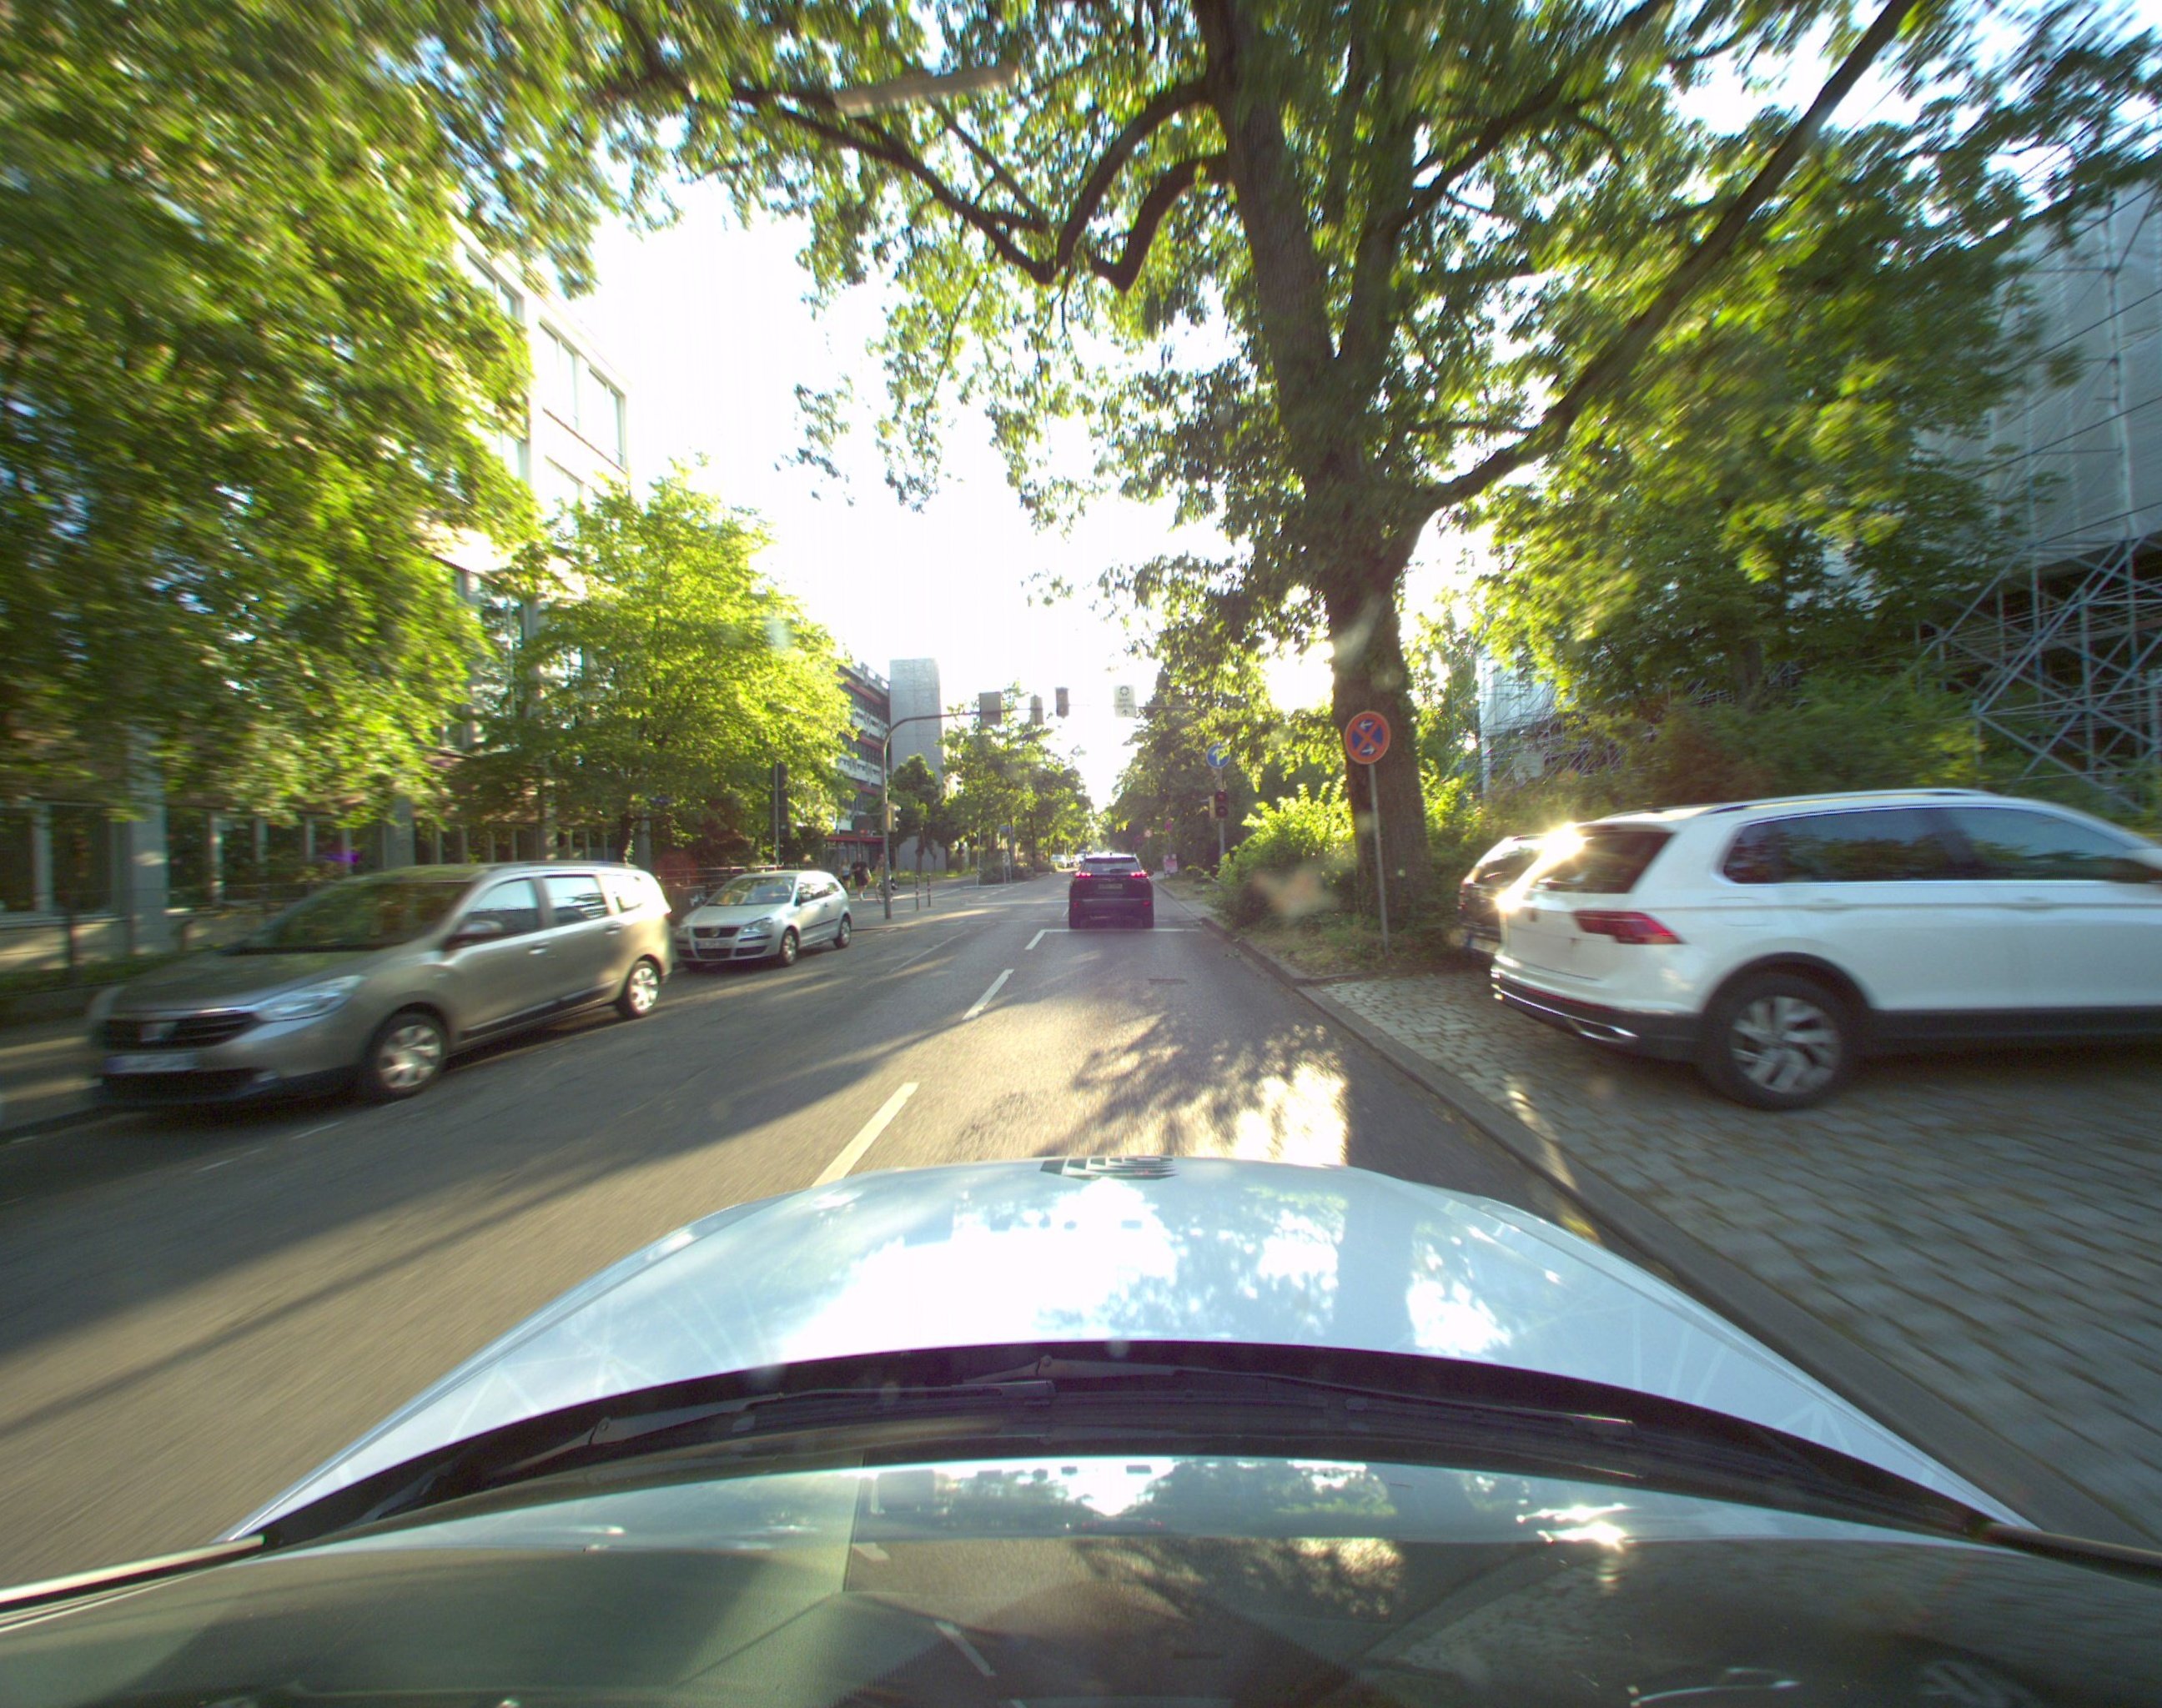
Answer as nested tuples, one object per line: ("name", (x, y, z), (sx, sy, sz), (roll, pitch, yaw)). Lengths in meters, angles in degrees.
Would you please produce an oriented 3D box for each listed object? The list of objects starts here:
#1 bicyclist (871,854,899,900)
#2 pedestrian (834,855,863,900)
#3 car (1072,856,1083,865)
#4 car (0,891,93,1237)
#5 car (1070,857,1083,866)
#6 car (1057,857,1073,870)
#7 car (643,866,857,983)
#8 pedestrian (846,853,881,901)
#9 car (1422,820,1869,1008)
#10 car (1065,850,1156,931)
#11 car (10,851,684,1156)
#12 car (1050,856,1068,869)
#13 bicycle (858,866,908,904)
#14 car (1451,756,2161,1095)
("bicyclist", (-7.078, 0.819, 29.451), (0.670, 1.603, 0.709), (-2, 0, 18))
("pedestrian", (-8.932, 0.891, 31.330), (0.698, 1.662, 0.720), (-3, 0, 26))
("car", (-0.633, 1.155, 140.572), (1.805, 1.354, 3.997), (-3, 0, -2))
("car", (-5.663, 0.993, 1.862), (1.664, 1.493, 4.064), (-4, 0, 3))
("car", (-0.730, 1.145, 130.508), (1.805, 1.354, 3.976), (-3, 0, -2))
("car", (-1.901, 1.101, 96.670), (1.805, 1.354, 3.997), (-3, 0, -2))
("car", (-5.221, 1.031, 13.469), (1.672, 1.457, 3.886), (-4, 0, 4))
("pedestrian", (-8.601, 0.907, 32.194), (0.945, 1.823, 0.827), (-3, 0, 25))
("car", (5.236, 0.495, 7.812), (3.188, 1.493, 1.681), (-2, 0, -6))
("car", (0.628, 0.720, 17.847), (1.762, 1.568, 3.381), (-2, 0, 1))
("car", (-5.478, 0.896, 7.061), (1.672, 1.708, 4.343), (-4, 0, 3))
("car", (-2.444, 0.944, 90.434), (1.806, 1.354, 3.996), (-3, 0, -3))
("bicycle", (-7.106, 1.083, 29.337), (0.681, 1.249, 2.203), (-2, 0, 18))
("car", (4.828, 0.376, 5.125), (4.149, 1.710, 1.870), (-2, 0, 6))
